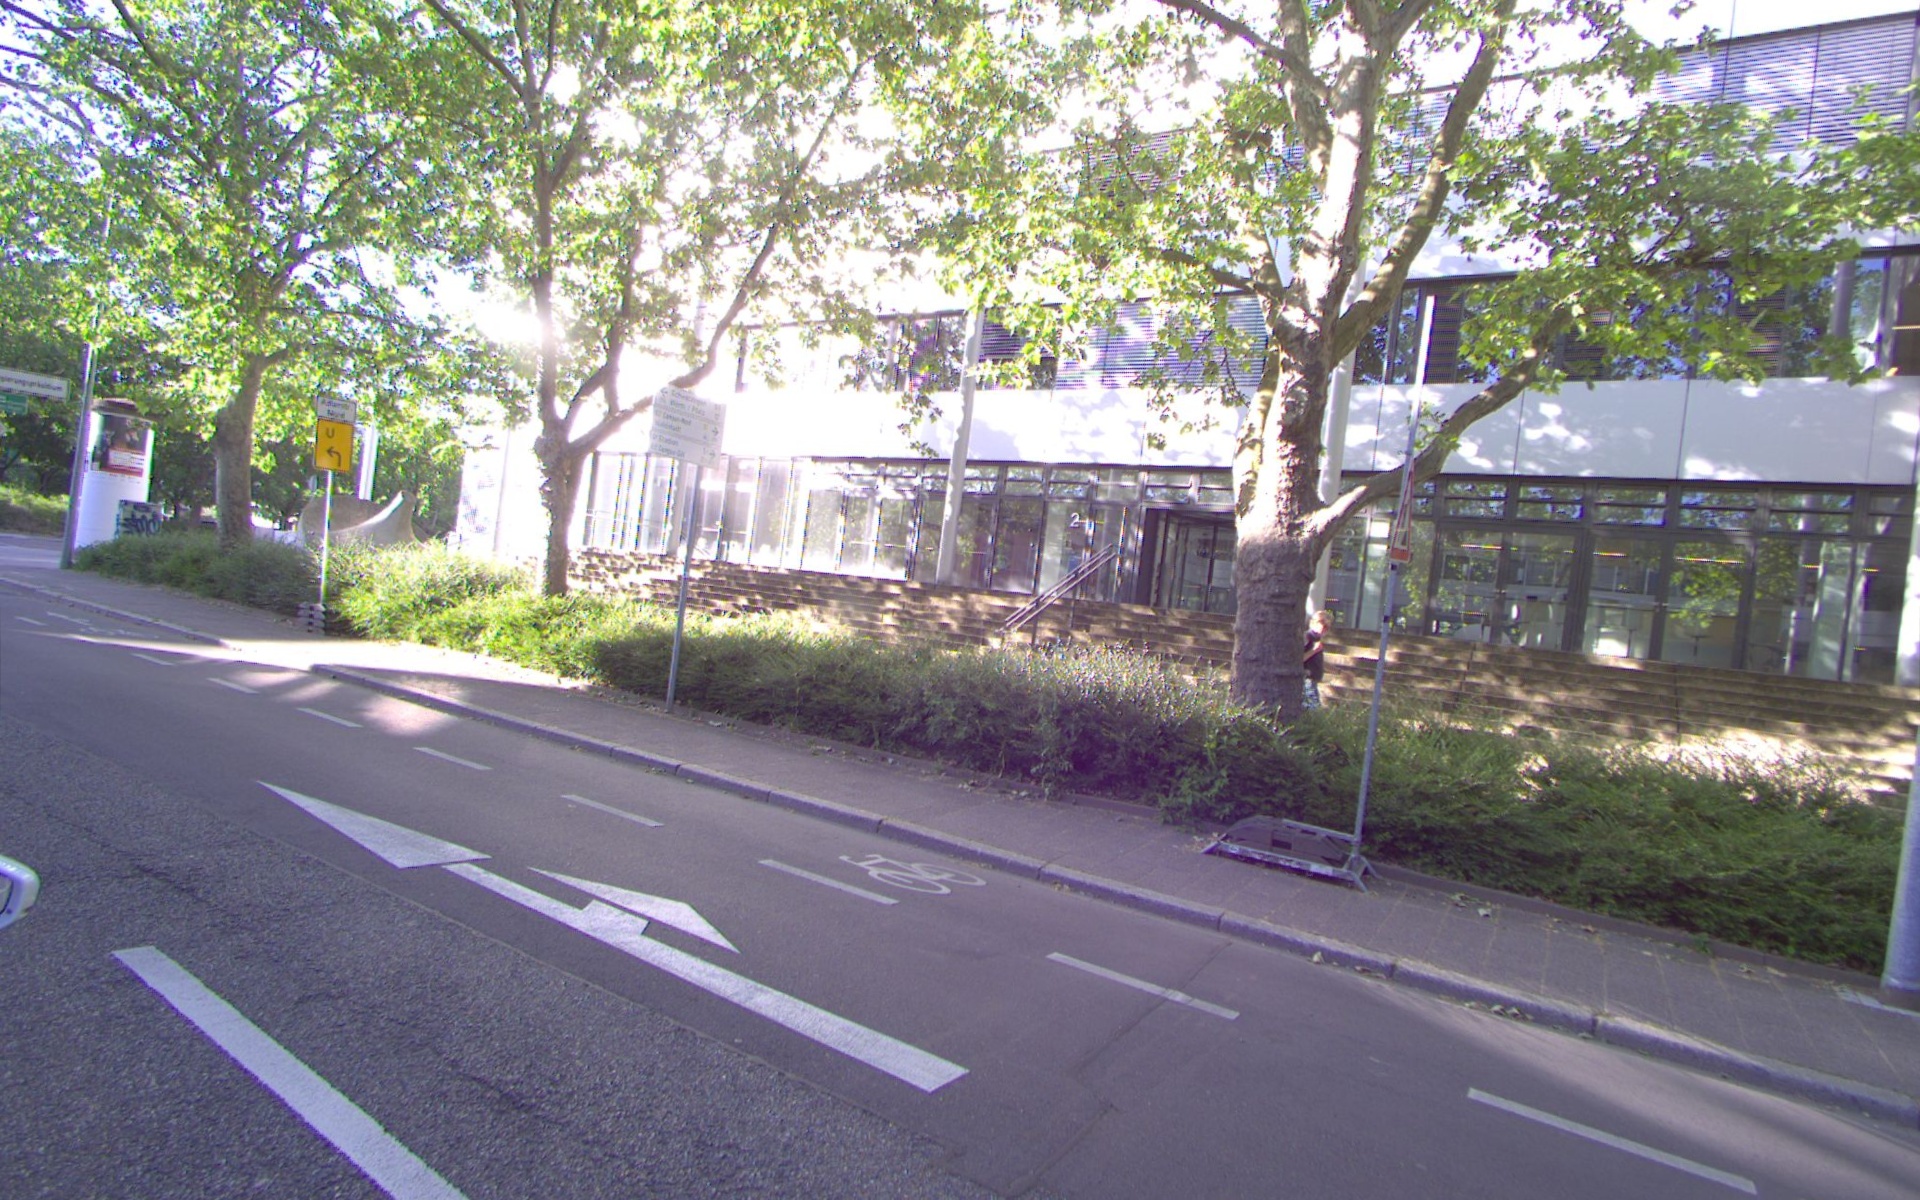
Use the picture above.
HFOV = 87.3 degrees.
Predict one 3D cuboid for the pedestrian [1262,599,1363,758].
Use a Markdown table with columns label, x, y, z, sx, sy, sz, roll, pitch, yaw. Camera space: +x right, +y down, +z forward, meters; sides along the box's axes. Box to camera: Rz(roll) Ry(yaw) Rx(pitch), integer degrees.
| label | x | y | z | sx | sy | sz | roll | pitch | yaw |
| --- | --- | --- | --- | --- | --- | --- | --- | --- | --- |
| pedestrian | 4.343 | 0.955 | 12.380 | 0.848 | 1.802 | 0.785 | 7 | 0 | 30 |
